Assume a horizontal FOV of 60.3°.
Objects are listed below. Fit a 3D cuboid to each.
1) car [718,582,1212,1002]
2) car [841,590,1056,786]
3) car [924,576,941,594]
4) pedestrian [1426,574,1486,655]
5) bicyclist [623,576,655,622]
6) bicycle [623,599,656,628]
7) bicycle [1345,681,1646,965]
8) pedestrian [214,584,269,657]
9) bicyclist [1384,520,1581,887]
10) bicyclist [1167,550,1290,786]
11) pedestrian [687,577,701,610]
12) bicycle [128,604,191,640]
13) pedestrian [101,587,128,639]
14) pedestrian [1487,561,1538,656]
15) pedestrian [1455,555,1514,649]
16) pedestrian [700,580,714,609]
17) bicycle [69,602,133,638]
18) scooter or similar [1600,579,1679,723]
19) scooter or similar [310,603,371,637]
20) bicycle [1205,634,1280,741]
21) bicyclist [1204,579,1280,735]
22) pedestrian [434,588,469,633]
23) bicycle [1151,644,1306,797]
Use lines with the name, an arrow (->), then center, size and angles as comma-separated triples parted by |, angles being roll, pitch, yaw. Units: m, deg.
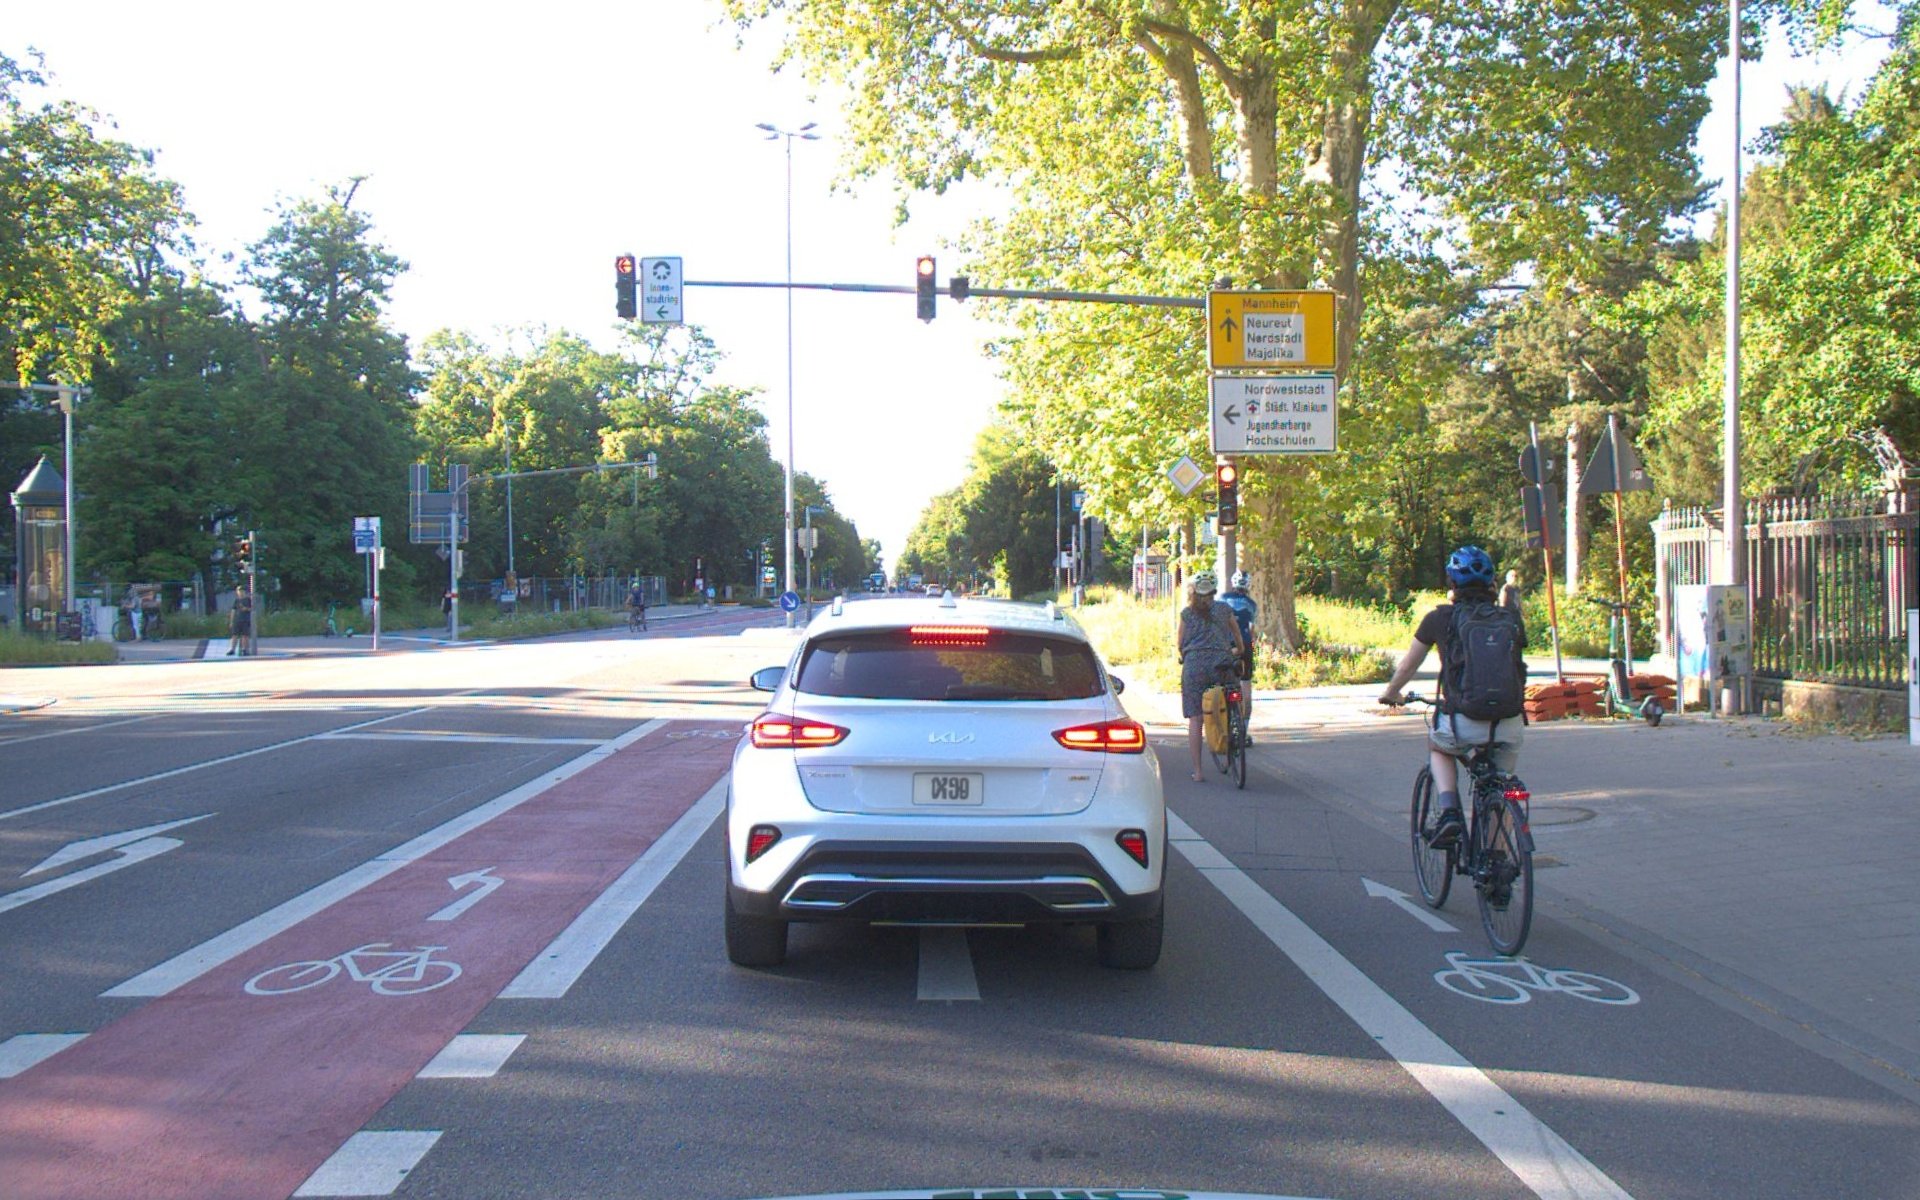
car -> -0.048, 0.666, 7.934 | 1.785, 1.506, 3.935 | 0, 1, -2
car -> -0.162, 0.689, 14.965 | 1.694, 1.509, 3.515 | -1, 1, -3
car -> -3.283, -1.767, 198.203 | 1.953, 2.049, 3.999 | -1, 1, -1
pedestrian -> 9.625, 0.273, 32.136 | 0.803, 1.544, 0.914 | 0, 0, -8
bicyclist -> -11.757, -0.033, 60.596 | 0.857, 1.636, 1.188 | -1, 0, 1
bicycle -> -11.744, 0.474, 60.672 | 0.650, 1.006, 2.504 | -1, 1, 1
bicycle -> 2.417, 0.957, 7.748 | 0.655, 1.027, 2.080 | 1, 1, -2
pedestrian -> -20.382, 0.580, 46.933 | 0.974, 2.049, 1.191 | 0, 0, 4
bicyclist -> 2.425, 0.461, 7.743 | 0.652, 1.630, 0.720 | 1, 0, -2
bicyclist -> 2.168, 0.527, 13.502 | 0.738, 1.827, 1.164 | 1, 0, -2
pedestrian -> -16.843, -0.422, 104.747 | 0.627, 2.049, 0.754 | 0, 0, 12
bicycle -> -25.930, 0.715, 53.603 | 1.826, 1.168, 0.290 | 0, 0, -8
pedestrian -> -27.371, 0.419, 53.530 | 0.616, 1.671, 0.445 | 0, 0, -3
pedestrian -> 10.335, 0.152, 30.948 | 0.676, 1.729, 0.643 | -1, 0, -7
pedestrian -> 10.339, 0.035, 32.639 | 0.802, 1.802, 0.831 | -1, 0, -8
pedestrian -> -15.980, -0.354, 104.579 | 0.769, 1.817, 0.751 | 0, 0, 0
bicycle -> -27.932, 0.643, 53.789 | 1.825, 1.168, 0.442 | 0, 0, -4
scooter or similar -> 6.591, 0.470, 16.084 | 0.223, 1.350, 1.171 | -1, 0, -2
scooter or similar -> -20.934, 0.671, 55.943 | 0.697, 1.144, 1.916 | 0, 0, 32
bicycle -> 2.838, 0.860, 16.715 | 0.393, 0.973, 1.550 | -3, 0, -2
bicyclist -> 2.838, 0.561, 16.687 | 0.543, 1.504, 0.716 | -3, 0, -2
pedestrian -> -18.954, 0.393, 61.650 | 1.067, 1.631, 0.999 | -1, 0, -7
bicycle -> 2.153, 0.934, 13.628 | 0.742, 1.031, 2.568 | 1, 1, -2
